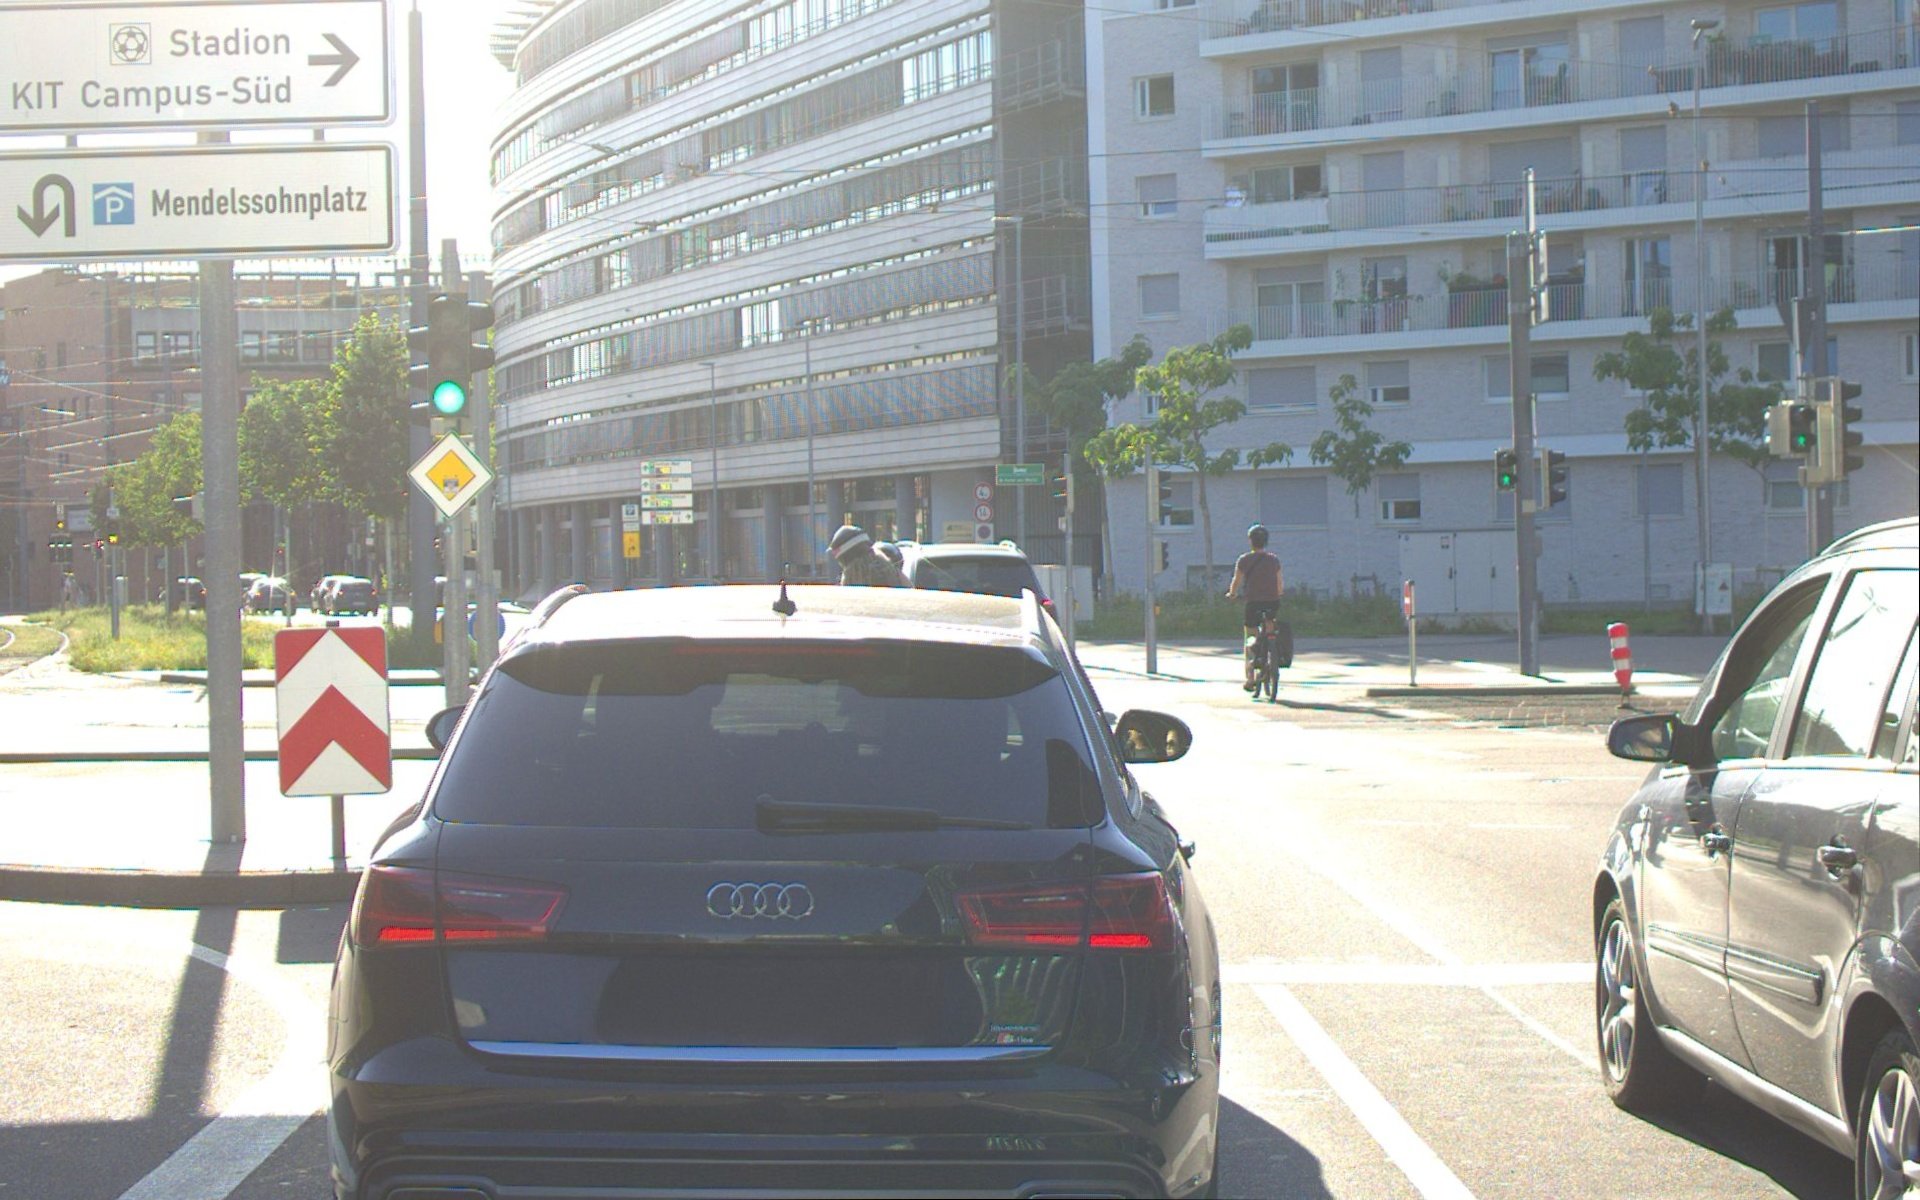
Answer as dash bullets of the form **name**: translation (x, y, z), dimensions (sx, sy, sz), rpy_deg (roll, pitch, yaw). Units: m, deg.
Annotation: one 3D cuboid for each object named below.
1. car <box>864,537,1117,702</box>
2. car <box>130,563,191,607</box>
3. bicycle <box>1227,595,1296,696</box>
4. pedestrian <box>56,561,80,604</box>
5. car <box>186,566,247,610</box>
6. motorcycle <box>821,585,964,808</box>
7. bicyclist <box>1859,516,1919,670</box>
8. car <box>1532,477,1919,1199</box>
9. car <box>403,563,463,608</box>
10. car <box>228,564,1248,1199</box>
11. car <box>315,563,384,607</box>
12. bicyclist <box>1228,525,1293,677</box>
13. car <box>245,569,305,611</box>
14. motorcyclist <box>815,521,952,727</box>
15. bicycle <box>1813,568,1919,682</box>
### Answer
- **car**: translation (0.267, 0.169, 38.138), dimensions (2.002, 1.709, 4.373), rpy_deg (1, 1, -10)
- **car**: translation (-32.964, -0.594, 141.708), dimensions (1.993, 1.700, 4.001), rpy_deg (-2, 0, -19)
- **bicycle**: translation (3.302, 0.484, 37.773), dimensions (0.654, 1.039, 1.929), rpy_deg (-1, 1, 2)
- **pedestrian**: translation (-39.069, -0.766, 150.534), dimensions (0.902, 1.818, 0.829), rpy_deg (-2, -1, -17)
- **car**: translation (-30.824, -0.481, 142.504), dimensions (1.993, 1.700, 4.001), rpy_deg (-2, 0, -19)
- **motorcycle**: translation (-0.462, 0.606, 22.664), dimensions (0.862, 1.388, 1.894), rpy_deg (-1, 0, -3)
- **bicyclist**: translation (10.721, -0.085, 38.704), dimensions (0.766, 1.700, 0.930), rpy_deg (-1, 0, -15)
- **car**: translation (2.592, 0.623, 7.968), dimensions (1.746, 1.690, 4.261), rpy_deg (1, 0, -1)
- **car**: translation (-22.503, -0.616, 146.653), dimensions (1.993, 1.831, 4.001), rpy_deg (-2, 0, -16)
- **car**: translation (-0.443, 0.663, 8.260), dimensions (1.842, 1.449, 4.000), rpy_deg (1, 1, -1)
- **car**: translation (-23.948, -0.583, 134.682), dimensions (1.993, 1.590, 4.001), rpy_deg (-2, 0, -19)
- **bicyclist**: translation (3.297, 0.006, 37.767), dimensions (0.654, 1.637, 0.972), rpy_deg (-1, 1, 2)
- **car**: translation (-27.308, -0.383, 136.989), dimensions (1.993, 1.590, 4.001), rpy_deg (-2, 0, -16)
- **motorcyclist**: translation (-0.508, 0.151, 22.576), dimensions (0.862, 1.322, 0.681), rpy_deg (-1, 0, -3)
- **bicycle**: translation (10.594, 0.270, 39.184), dimensions (0.766, 1.258, 2.082), rpy_deg (-1, 1, -15)
